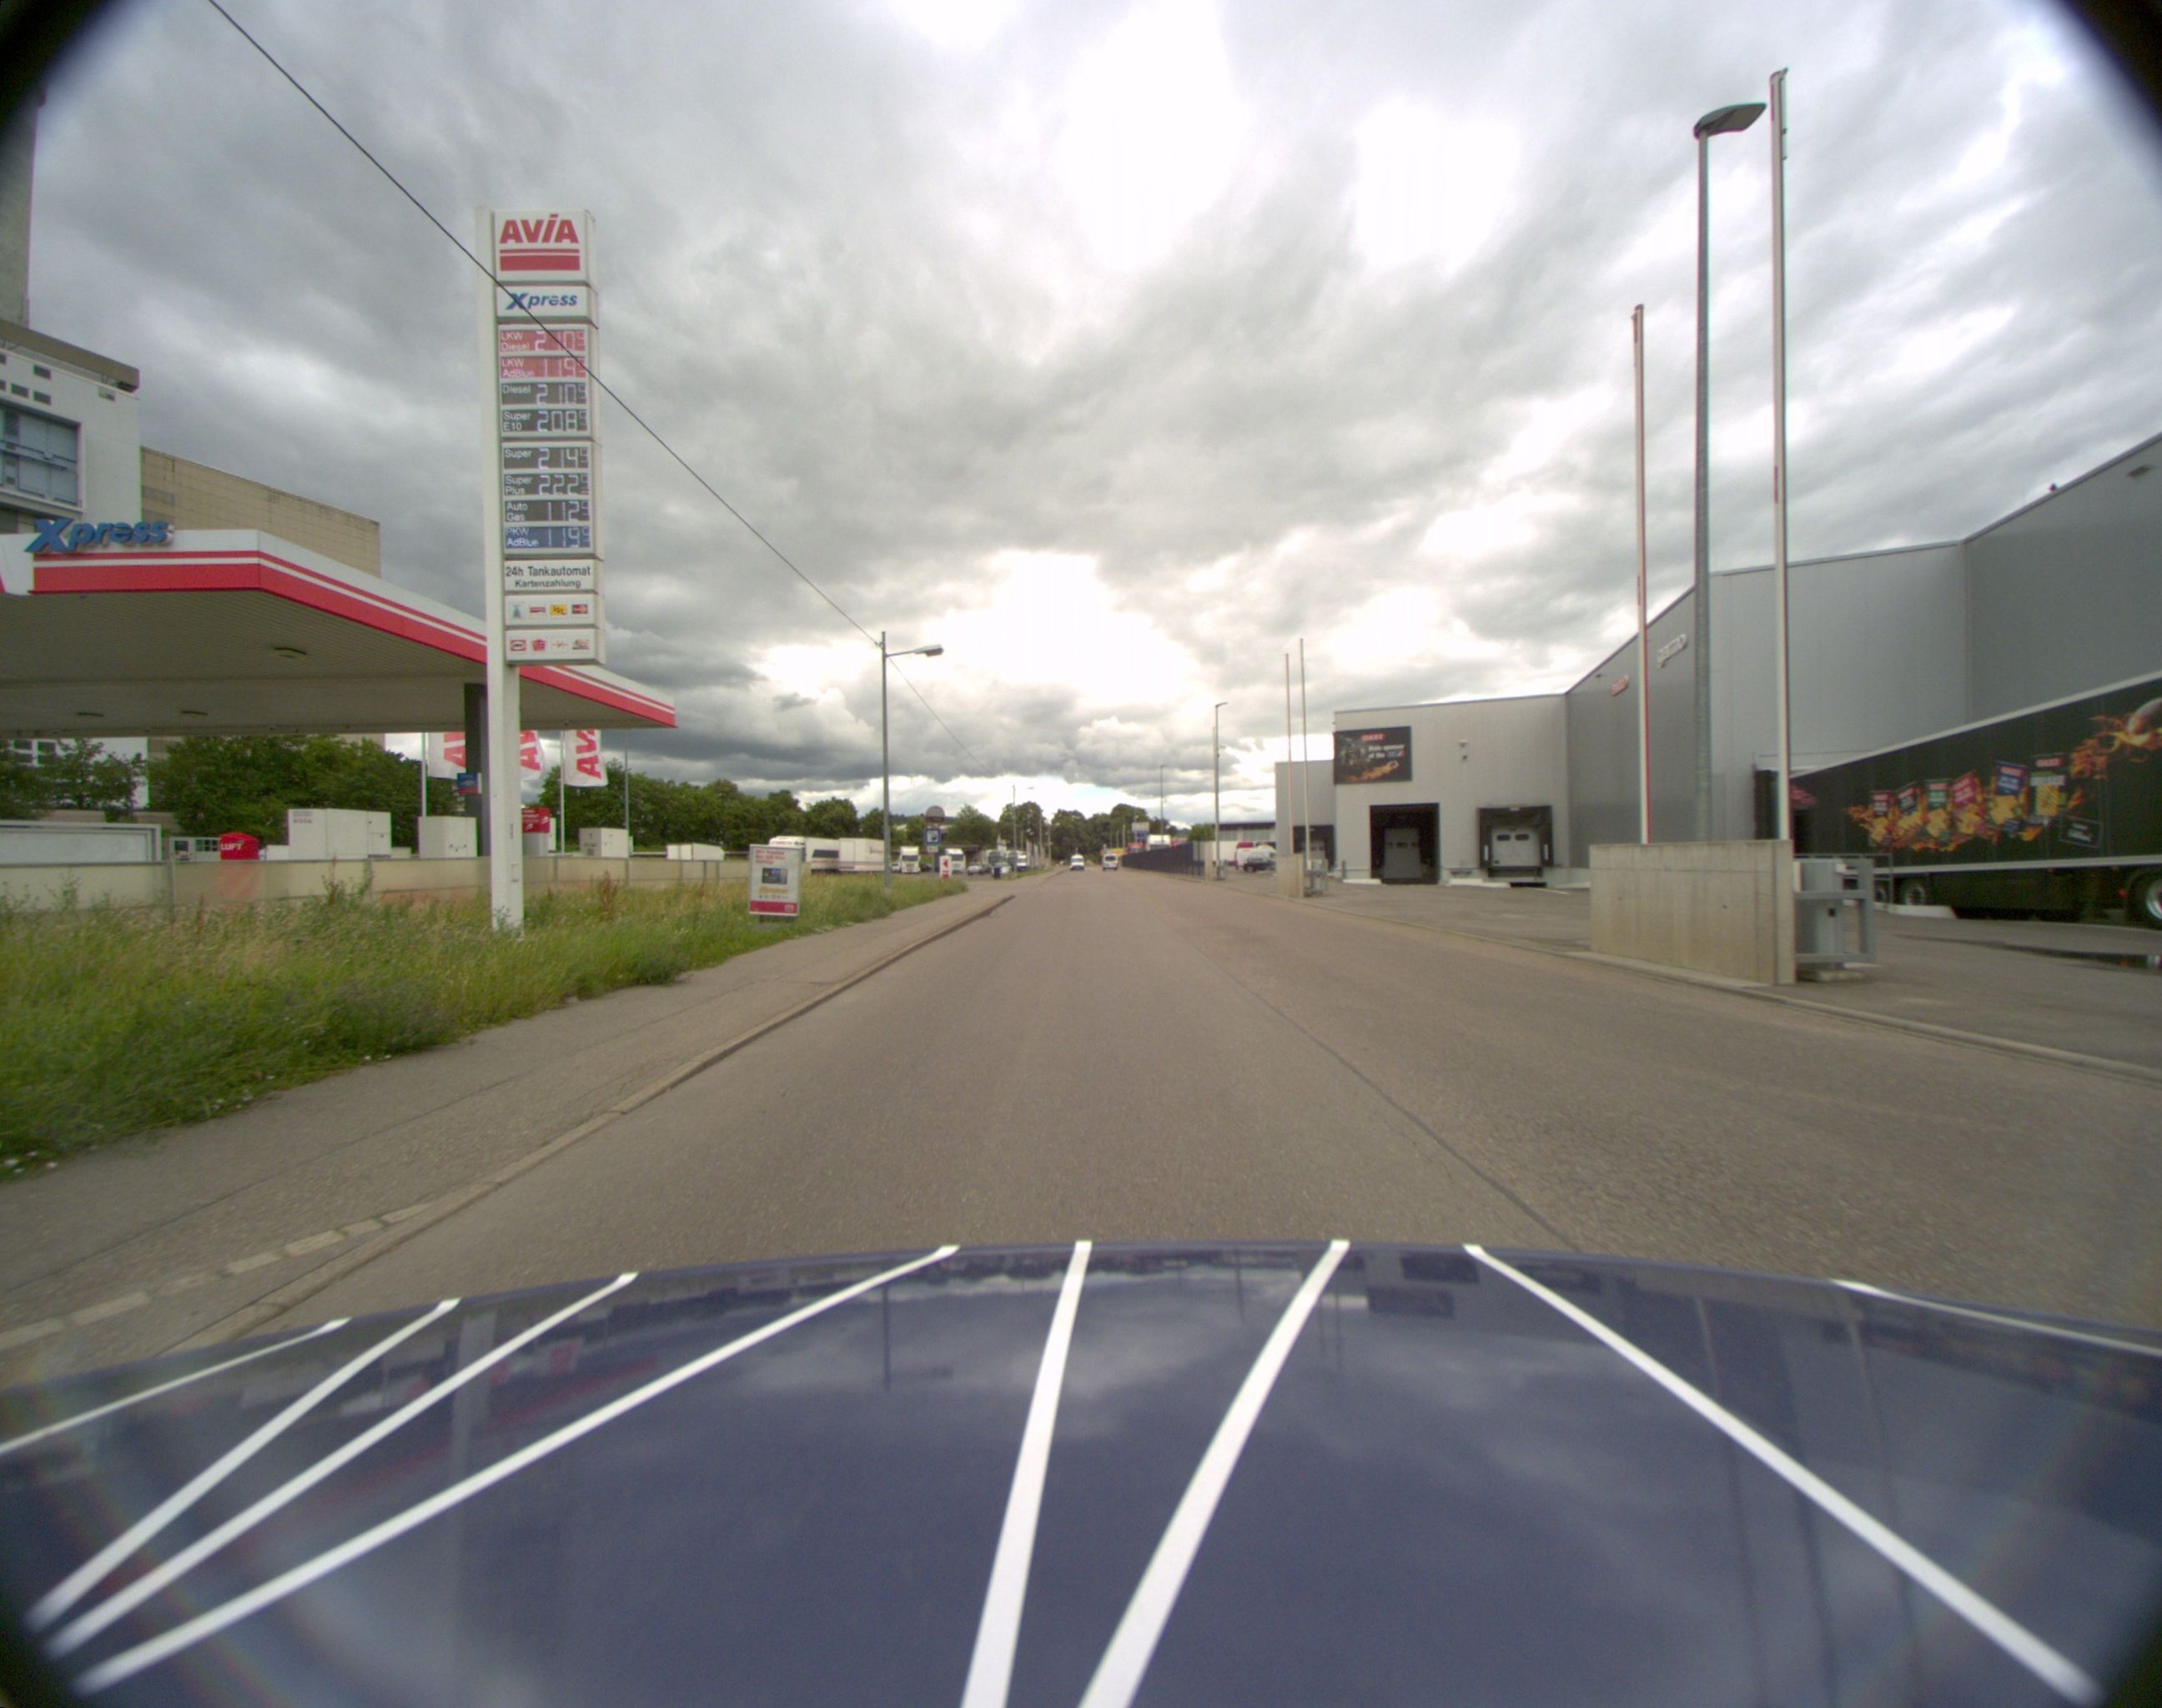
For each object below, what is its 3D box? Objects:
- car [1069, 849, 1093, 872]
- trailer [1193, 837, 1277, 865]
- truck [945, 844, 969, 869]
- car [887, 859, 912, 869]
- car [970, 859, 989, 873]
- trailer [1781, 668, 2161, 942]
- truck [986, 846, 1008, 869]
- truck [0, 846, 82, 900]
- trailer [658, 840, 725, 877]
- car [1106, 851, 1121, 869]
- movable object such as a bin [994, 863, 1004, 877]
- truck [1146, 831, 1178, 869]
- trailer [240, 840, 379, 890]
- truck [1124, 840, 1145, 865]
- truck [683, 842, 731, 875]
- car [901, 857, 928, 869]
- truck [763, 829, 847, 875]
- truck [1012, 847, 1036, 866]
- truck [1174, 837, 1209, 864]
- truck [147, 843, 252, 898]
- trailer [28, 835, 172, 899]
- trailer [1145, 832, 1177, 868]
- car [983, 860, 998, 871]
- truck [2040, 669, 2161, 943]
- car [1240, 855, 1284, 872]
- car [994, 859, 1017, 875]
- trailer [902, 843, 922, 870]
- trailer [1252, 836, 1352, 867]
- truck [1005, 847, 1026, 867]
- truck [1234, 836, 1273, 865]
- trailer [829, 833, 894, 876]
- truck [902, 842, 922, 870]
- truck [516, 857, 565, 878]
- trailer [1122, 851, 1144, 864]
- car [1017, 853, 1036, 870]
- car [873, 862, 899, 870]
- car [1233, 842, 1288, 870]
[{"bbox_3d":[-0.044,1.071,123.253,3.339,3.586,8.668,-1,0,-3],"label":"car"},{"bbox_3d":[23.261,-0.441,114.844,12.021,4.108,3.053,1,0,19],"label":"trailer"},{"bbox_3d":[-20.521,0.465,125.503,2.877,4.071,6.746,0,0,-19],"label":"truck"},{"bbox_3d":[-35.110,1.967,146.898,4.707,1.881,2.004,-1,0,32],"label":"car"},{"bbox_3d":[-12.681,1.511,94.932,1.769,1.561,4.000,-3,0,0],"label":"car"},{"bbox_3d":[18.721,-0.760,14.929,2.745,4.007,12.636,-2,0,21],"label":"trailer"},{"bbox_3d":[-14.982,0.645,134.684,2.876,3.990,6.748,0,0,-15],"label":"truck"},{"bbox_3d":[-73.637,1.300,52.935,7.237,3.536,3.718,-1,0,28],"label":"truck"},{"bbox_3d":[-44.413,0.548,87.248,3.644,3.887,13.723,-1,0,-13],"label":"trailer"},{"bbox_3d":[4.735,0.874,110.861,1.998,2.401,5.258,-2,0,4],"label":"car"},{"bbox_3d":[-6.469,1.227,59.958,0.716,1.075,0.662,-1,0,-6],"label":"movable object such as a bin"},{"bbox_3d":[9.166,-0.431,86.109,3.366,4.136,5.629,1,0,4],"label":"truck"},{"bbox_3d":[-70.719,1.098,69.421,18.453,4.148,3.649,-1,0,28],"label":"trailer"},{"bbox_3d":[8.558,-0.246,122.252,3.021,3.826,5.670,1,0,1],"label":"truck"},{"bbox_3d":[-45.915,0.620,93.630,3.633,3.856,7.249,-1,0,-12],"label":"truck"},{"bbox_3d":[-33.379,1.805,152.238,4.907,2.434,2.375,-1,0,32],"label":"car"},{"bbox_3d":[-25.654,-0.166,71.603,3.082,3.944,13.069,1,0,0],"label":"truck"},{"bbox_3d":[-11.816,0.574,155.555,2.832,3.689,9.090,-1,0,-18],"label":"truck"},{"bbox_3d":[16.918,-0.537,116.243,4.878,4.108,3.048,1,0,1],"label":"truck"},{"bbox_3d":[-69.760,1.306,60.112,7.238,4.096,3.718,-1,0,27],"label":"truck"},{"bbox_3d":[-76.086,1.103,58.715,18.243,4.475,3.565,-1,1,28],"label":"trailer"},{"bbox_3d":[9.657,-0.434,93.092,3.366,4.136,13.853,1,0,4],"label":"trailer"},{"bbox_3d":[-12.909,1.689,108.606,1.497,1.486,4.053,-1,0,2],"label":"car"},{"bbox_3d":[16.539,-0.728,9.249,2.745,4.007,7.103,-2,0,21],"label":"truck"},{"bbox_3d":[18.466,0.931,77.560,4.072,1.567,1.947,-3,-1,22],"label":"car"},{"bbox_3d":[-7.640,1.301,77.030,1.778,1.455,4.560,-1,0,0],"label":"car"},{"bbox_3d":[-26.899,0.427,120.499,2.841,4.070,13.381,0,0,-14],"label":"trailer"},{"bbox_3d":[30.900,-0.440,106.385,13.158,4.188,3.053,1,0,22],"label":"trailer"},{"bbox_3d":[-12.007,0.589,138.868,2.876,3.608,6.748,0,0,-15],"label":"truck"},{"bbox_3d":[24.720,-0.501,108.949,4.870,4.180,3.053,1,0,23],"label":"truck"},{"bbox_3d":[-21.676,0.099,75.865,2.964,3.944,10.407,1,0,3],"label":"trailer"},{"bbox_3d":[-25.483,0.383,114.534,2.876,4.071,6.749,0,0,-13],"label":"truck"},{"bbox_3d":[-66.029,1.589,92.795,5.942,2.476,2.286,1,0,26],"label":"truck"},{"bbox_3d":[8.618,0.576,128.020,3.046,2.179,12.048,1,0,1],"label":"trailer"},{"bbox_3d":[-7.726,1.035,108.640,2.091,2.401,6.084,-1,0,2],"label":"car"},{"bbox_3d":[-37.295,2.315,145.403,4.707,1.431,2.004,-1,0,32],"label":"car"},{"bbox_3d":[19.448,0.229,82.288,5.423,2.714,2.244,-3,-1,19],"label":"car"}]
